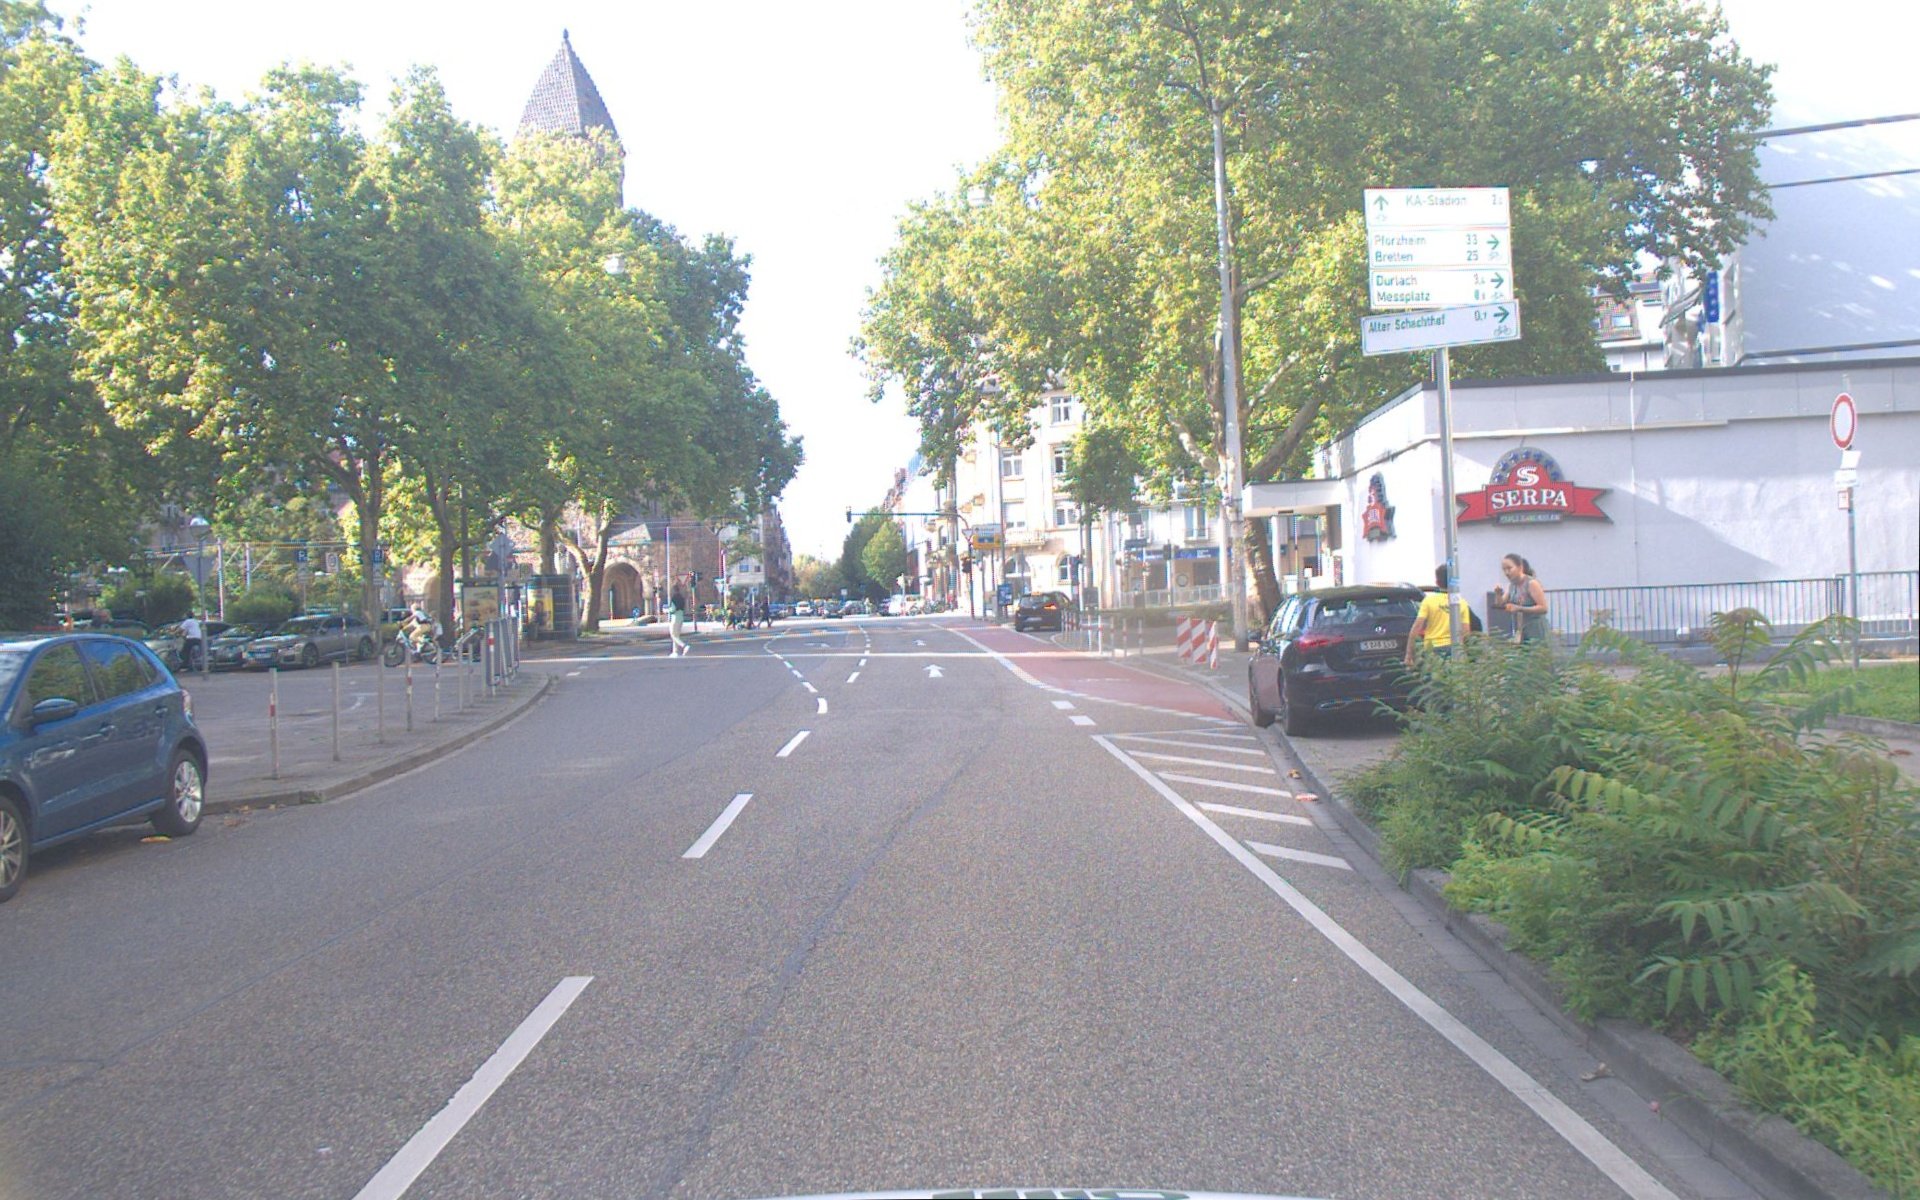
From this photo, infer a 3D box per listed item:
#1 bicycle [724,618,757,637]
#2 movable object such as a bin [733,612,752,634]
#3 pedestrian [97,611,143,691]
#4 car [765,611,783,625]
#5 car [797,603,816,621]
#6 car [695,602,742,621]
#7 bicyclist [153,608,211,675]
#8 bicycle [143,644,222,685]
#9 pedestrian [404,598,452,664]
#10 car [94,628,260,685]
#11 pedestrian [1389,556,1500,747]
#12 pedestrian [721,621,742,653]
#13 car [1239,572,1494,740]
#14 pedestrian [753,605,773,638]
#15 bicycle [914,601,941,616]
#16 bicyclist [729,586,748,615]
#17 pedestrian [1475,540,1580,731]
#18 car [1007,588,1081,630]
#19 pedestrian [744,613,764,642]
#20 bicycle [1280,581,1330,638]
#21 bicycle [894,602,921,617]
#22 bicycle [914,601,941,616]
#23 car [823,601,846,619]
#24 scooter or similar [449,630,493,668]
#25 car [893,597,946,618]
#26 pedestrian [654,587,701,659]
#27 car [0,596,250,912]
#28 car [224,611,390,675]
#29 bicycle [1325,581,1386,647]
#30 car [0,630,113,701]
[{"bbox_3d":[-12.384,1.537,93.321,1.792,0.972,0.573,-3,0,22],"label":"bicycle"},{"bbox_3d":[-11.605,1.225,88.353,0.820,1.143,0.575,-2,0,19],"label":"movable object such as a bin"},{"bbox_3d":[-17.380,1.050,34.229,0.725,1.606,0.724,-2,0,-33],"label":"pedestrian"},{"bbox_3d":[-18.443,1.783,164.004,1.519,1.251,3.586,-2,0,-2],"label":"car"},{"bbox_3d":[-18.507,1.489,199.586,1.953,2.049,3.999,-2,0,-1],"label":"car"},{"bbox_3d":[-22.551,1.068,154.235,3.969,1.623,1.839,-3,0,-44],"label":"car"},{"bbox_3d":[-20.589,1.098,43.780,1.086,1.721,0.815,-2,0,19],"label":"bicyclist"},{"bbox_3d":[-20.566,1.695,43.747,1.880,1.011,0.764,-2,0,20],"label":"bicycle"},{"bbox_3d":[-14.095,0.821,43.834,1.059,1.683,0.809,-2,0,-26],"label":"pedestrian"},{"bbox_3d":[-23.568,1.673,49.984,1.632,1.401,4.841,-3,0,17],"label":"car"},{"bbox_3d":[4.165,0.431,14.255,0.639,1.565,0.743,-4,0,-1],"label":"pedestrian"},{"bbox_3d":[-12.247,1.974,88.603,0.798,1.657,0.605,-4,0,20],"label":"pedestrian"},{"bbox_3d":[4.096,0.506,17.329,1.724,1.436,4.234,-4,0,3],"label":"car"},{"bbox_3d":[-10.565,1.157,88.815,0.764,1.691,0.779,-2,0,18],"label":"pedestrian"},{"bbox_3d":[-2.537,0.651,129.204,1.989,1.100,0.618,-3,0,-14],"label":"bicycle"},{"bbox_3d":[-12.514,0.022,93.391,0.762,1.607,0.625,-3,0,21],"label":"bicyclist"},{"bbox_3d":[5.151,0.313,15.039,0.639,1.674,0.743,-2,0,-1],"label":"pedestrian"},{"bbox_3d":[3.153,0.313,61.354,1.715,1.438,4.002,-2,0,18],"label":"car"},{"bbox_3d":[-10.841,1.462,87.076,0.765,1.457,0.731,-2,0,21],"label":"pedestrian"},{"bbox_3d":[7.985,0.228,38.366,0.698,1.226,1.815,-6,-1,1],"label":"bicycle"},{"bbox_3d":[-4.103,0.742,129.082,1.989,1.100,0.618,-3,0,-14],"label":"bicycle"},{"bbox_3d":[-2.539,0.669,129.866,1.989,1.100,0.628,-3,0,-14],"label":"bicycle"},{"bbox_3d":[-10.540,0.805,138.841,1.911,1.395,3.996,-3,0,-5],"label":"car"},{"bbox_3d":[-13.078,1.300,44.225,0.998,0.939,0.802,-2,0,-24],"label":"scooter or similar"},{"bbox_3d":[-3.229,0.593,131.521,3.912,1.445,1.996,-3,0,-8],"label":"car"},{"bbox_3d":[-7.268,0.586,42.573,1.057,1.784,0.915,-1,0,-17],"label":"pedestrian"},{"bbox_3d":[-6.000,0.875,10.010,1.764,1.648,3.801,-5,0,-2],"label":"car"},{"bbox_3d":[-19.085,1.222,48.640,2.186,1.613,4.979,-3,0,10],"label":"car"},{"bbox_3d":[7.807,0.262,32.726,0.753,1.227,1.816,-4,0,2],"label":"bicycle"},{"bbox_3d":[-22.307,1.559,39.393,1.558,1.503,3.707,-2,0,20],"label":"car"}]
